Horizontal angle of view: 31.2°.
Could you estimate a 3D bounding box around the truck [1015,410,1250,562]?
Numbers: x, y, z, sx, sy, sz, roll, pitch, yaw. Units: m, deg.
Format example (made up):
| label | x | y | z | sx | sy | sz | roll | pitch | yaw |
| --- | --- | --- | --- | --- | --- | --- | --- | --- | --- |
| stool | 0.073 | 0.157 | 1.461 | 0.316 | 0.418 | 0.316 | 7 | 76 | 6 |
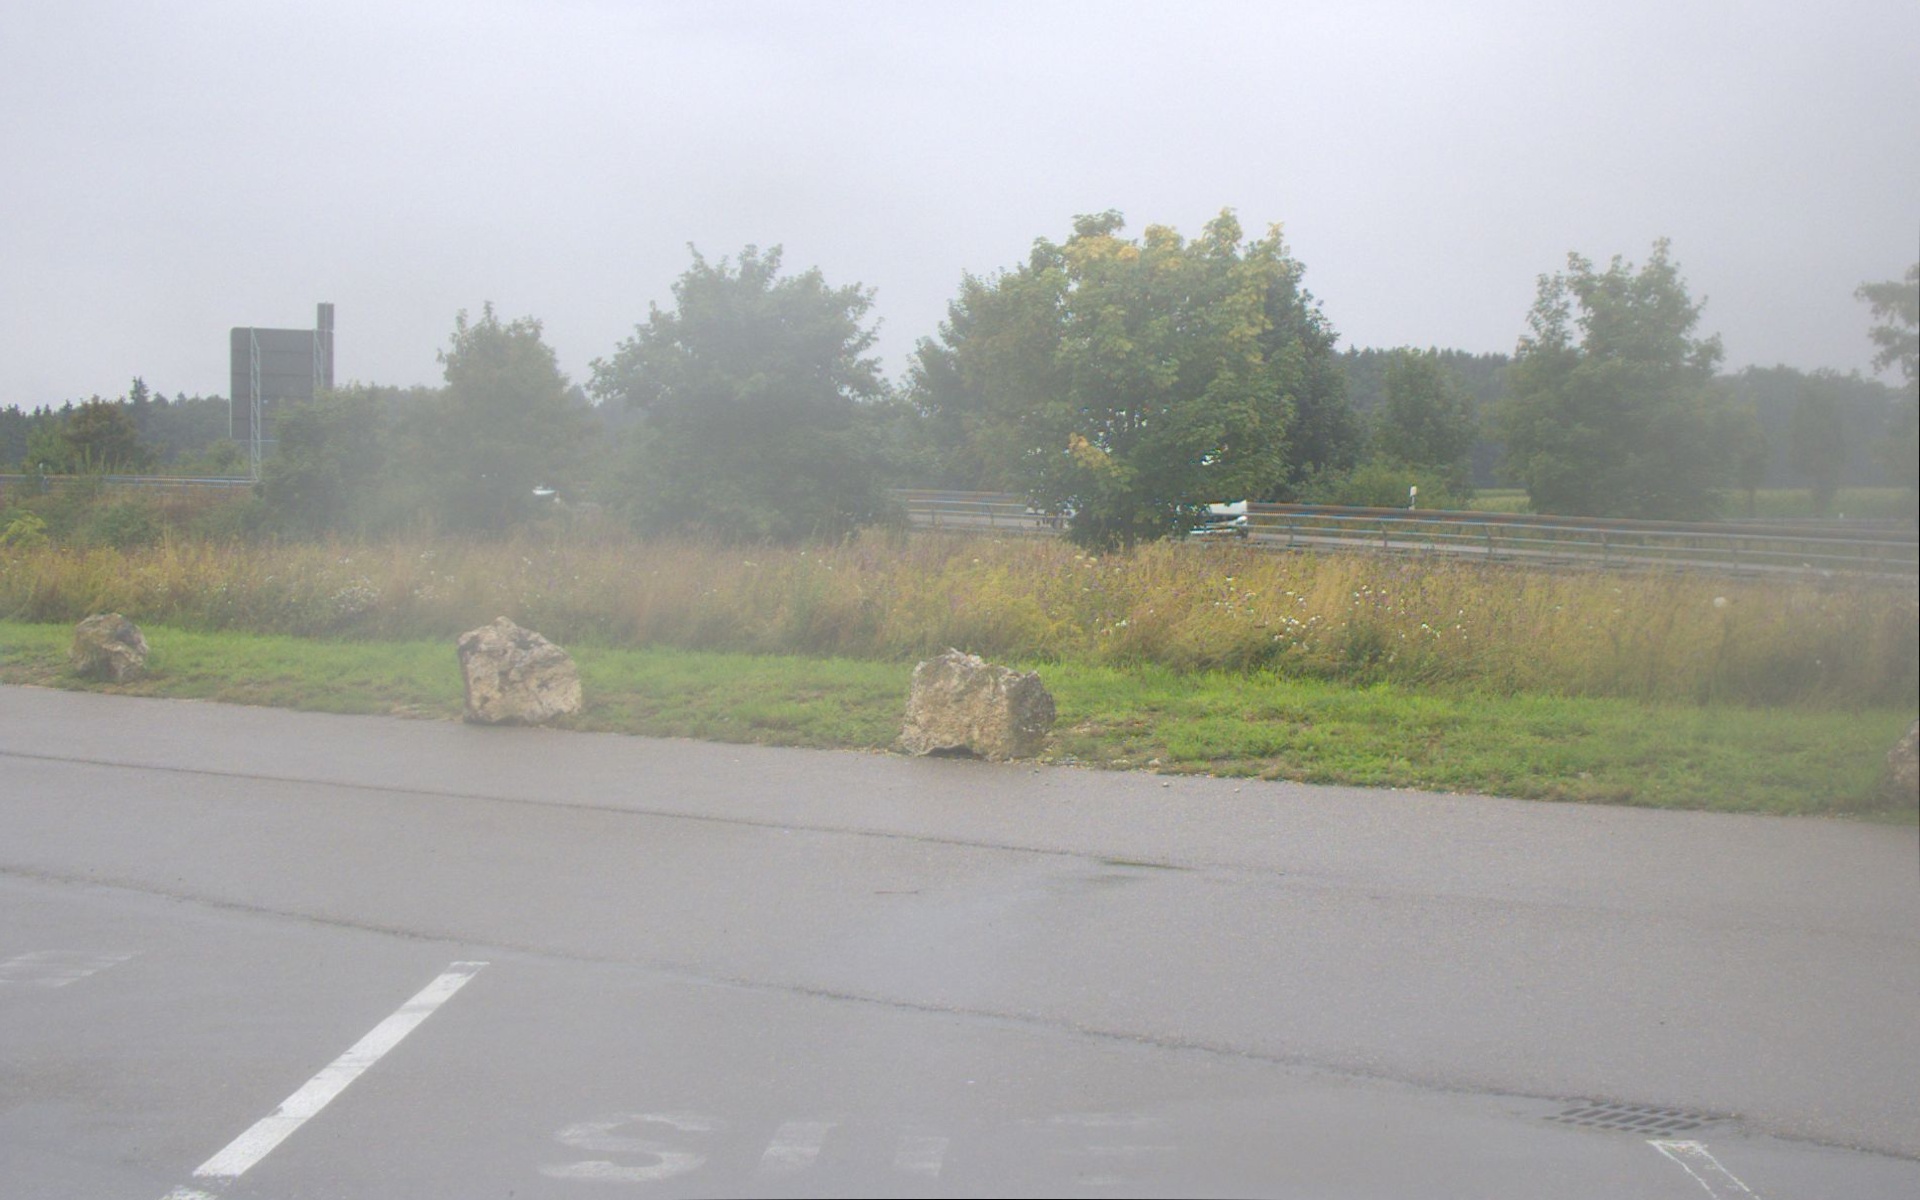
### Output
| label | x | y | z | sx | sy | sz | roll | pitch | yaw |
| --- | --- | --- | --- | --- | --- | --- | --- | --- | --- |
| truck | 3.956 | -2.675 | 81.163 | 2.738 | 3.379 | 8.070 | 0 | 2 | -19 |
